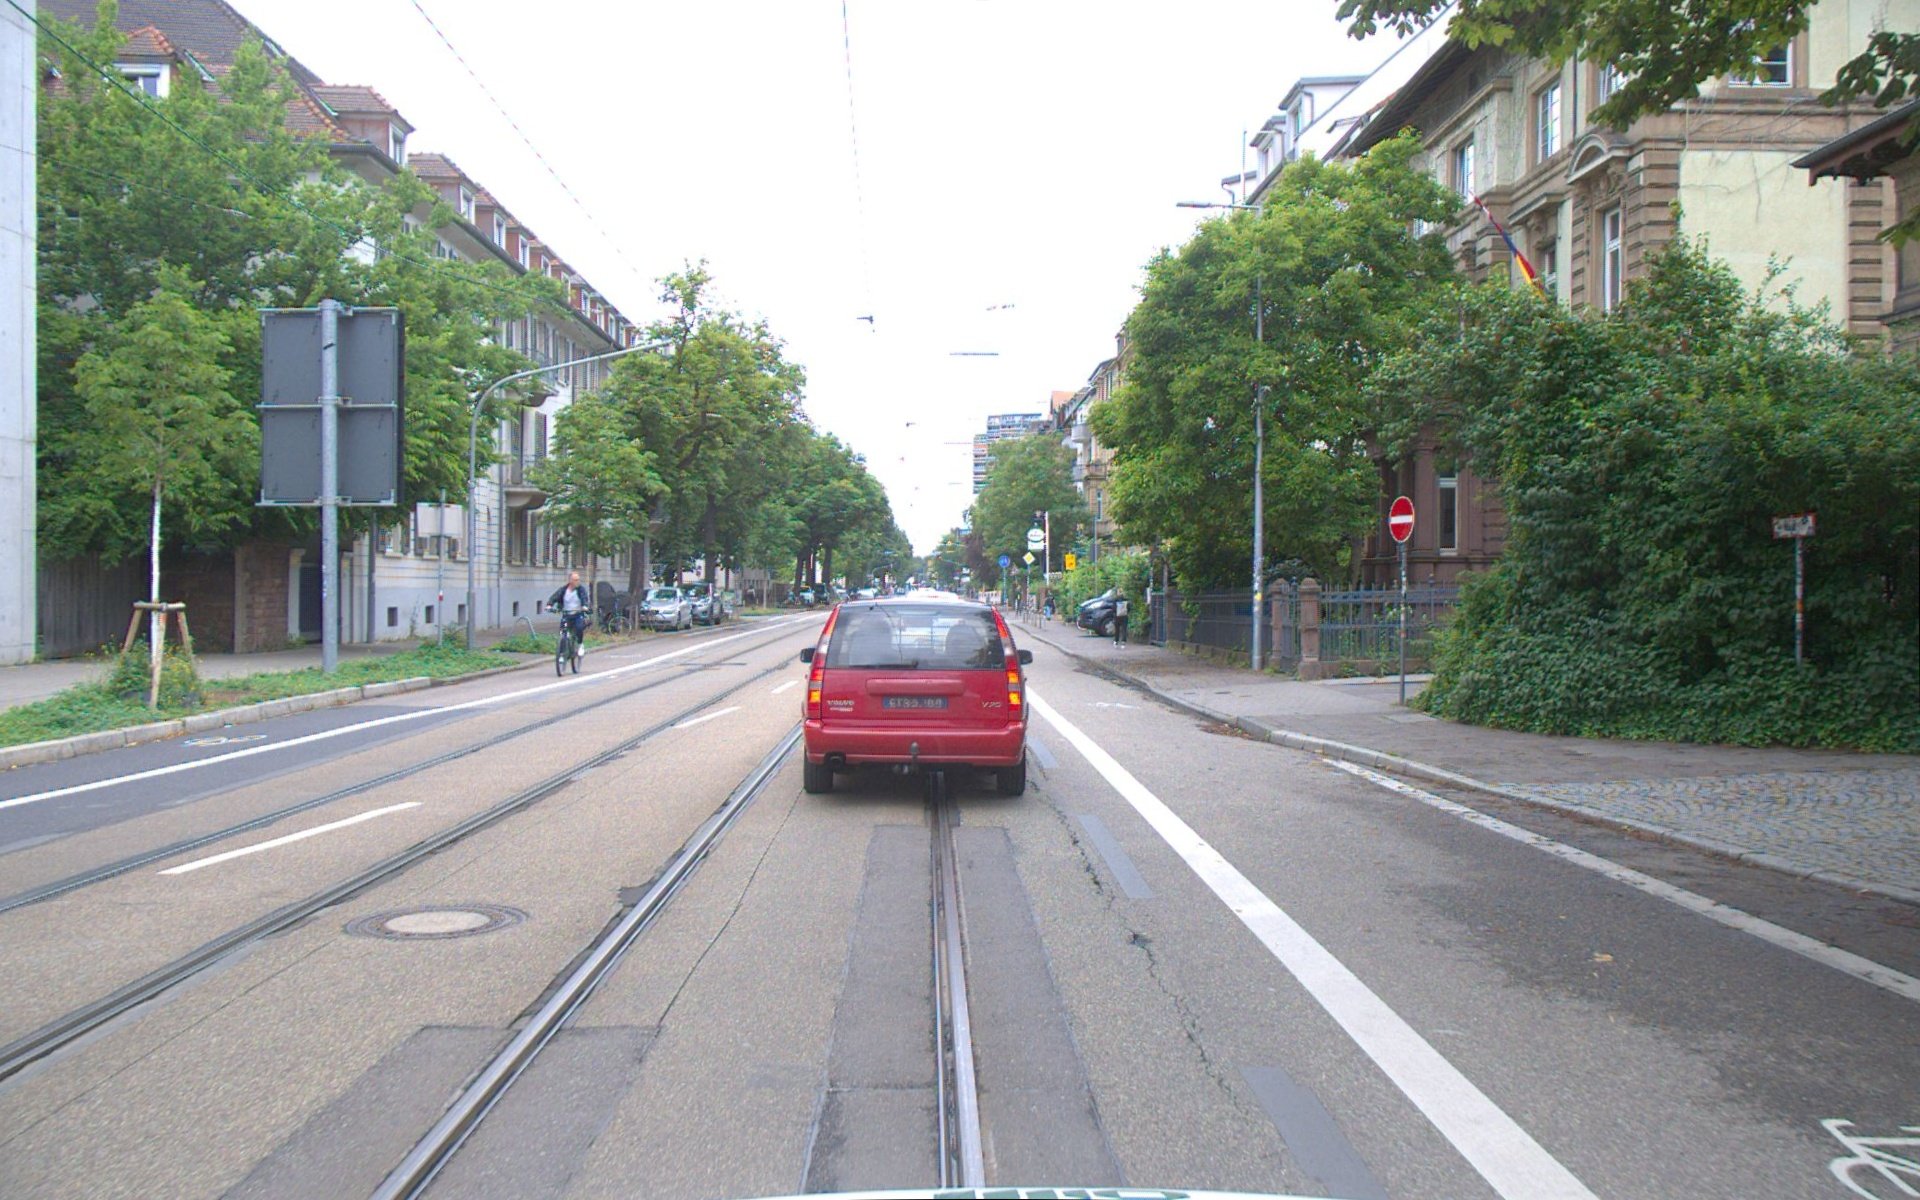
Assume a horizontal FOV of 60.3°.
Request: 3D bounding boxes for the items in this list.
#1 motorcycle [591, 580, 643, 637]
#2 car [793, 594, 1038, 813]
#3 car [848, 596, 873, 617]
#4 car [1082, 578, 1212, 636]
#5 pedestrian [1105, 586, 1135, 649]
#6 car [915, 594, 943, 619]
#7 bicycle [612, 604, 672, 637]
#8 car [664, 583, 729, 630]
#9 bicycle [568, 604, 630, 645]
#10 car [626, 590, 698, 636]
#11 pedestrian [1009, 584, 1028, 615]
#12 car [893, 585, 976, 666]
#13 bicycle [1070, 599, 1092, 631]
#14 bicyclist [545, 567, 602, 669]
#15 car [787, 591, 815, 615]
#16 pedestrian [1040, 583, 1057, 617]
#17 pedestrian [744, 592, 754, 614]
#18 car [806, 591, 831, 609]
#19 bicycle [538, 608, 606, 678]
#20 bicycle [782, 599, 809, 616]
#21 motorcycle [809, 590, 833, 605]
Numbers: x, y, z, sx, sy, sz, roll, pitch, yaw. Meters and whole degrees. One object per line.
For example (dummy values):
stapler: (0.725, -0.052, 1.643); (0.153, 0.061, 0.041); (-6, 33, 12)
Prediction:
motorcycle: (-10.327, 0.257, 49.859); (0.815, 1.672, 2.482); (0, 0, 6)
car: (-0.317, 0.689, 13.014); (1.654, 1.466, 3.742); (0, 0, -1)
car: (-7.132, 0.436, 118.863); (1.694, 1.433, 3.654); (0, 0, -2)
car: (6.329, 0.229, 56.386); (4.193, 1.840, 1.824); (-2, 0, 0)
pedestrian: (4.393, 0.476, 45.493); (0.611, 1.700, 0.959); (-3, 0, -2)
car: (-2.103, 0.419, 110.526); (1.707, 1.634, 3.997); (0, 0, -3)
bicycle: (-10.280, 0.669, 53.547); (1.858, 1.045, 0.563); (0, 0, -6)
car: (-10.376, 0.239, 65.385); (1.800, 1.690, 4.293); (2, 0, 0)
bicycle: (-10.376, 0.691, 47.563); (1.705, 1.148, 0.518); (0, 0, 17)
car: (-10.206, 0.428, 56.946); (1.775, 1.491, 4.612); (1, 0, -2)
pedestrian: (3.198, -0.006, 90.456); (0.854, 1.685, 0.909); (0, 0, 11)
car: (-0.500, 0.523, 35.905); (1.683, 1.653, 3.941); (0, 0, 1)
bicycle: (4.570, 0.563, 62.731); (0.620, 1.147, 1.812); (-2, 1, -2)
bicyclist: (-7.024, 0.314, 30.126); (0.775, 1.815, 1.147); (0, 0, -1)
car: (-11.881, 0.218, 123.633); (1.859, 1.684, 4.223); (1, 0, -2)
pedestrian: (4.421, 0.016, 82.851); (0.777, 1.665, 0.836); (-1, 0, -1)
pedestrian: (-14.482, 0.202, 113.462); (0.553, 1.493, 0.722); (0, 0, -1)
car: (-12.202, 0.014, 142.752); (1.741, 1.537, 4.237); (1, 0, -1)
bicycle: (-7.020, 0.762, 30.016); (0.775, 1.207, 2.010); (-1, 0, -1)
bicycle: (-11.918, 0.519, 119.792); (1.883, 1.140, 0.624); (2, 0, -2)
motorcycle: (-13.792, -0.241, 164.193); (2.225, 1.538, 0.924); (0, -2, 34)
